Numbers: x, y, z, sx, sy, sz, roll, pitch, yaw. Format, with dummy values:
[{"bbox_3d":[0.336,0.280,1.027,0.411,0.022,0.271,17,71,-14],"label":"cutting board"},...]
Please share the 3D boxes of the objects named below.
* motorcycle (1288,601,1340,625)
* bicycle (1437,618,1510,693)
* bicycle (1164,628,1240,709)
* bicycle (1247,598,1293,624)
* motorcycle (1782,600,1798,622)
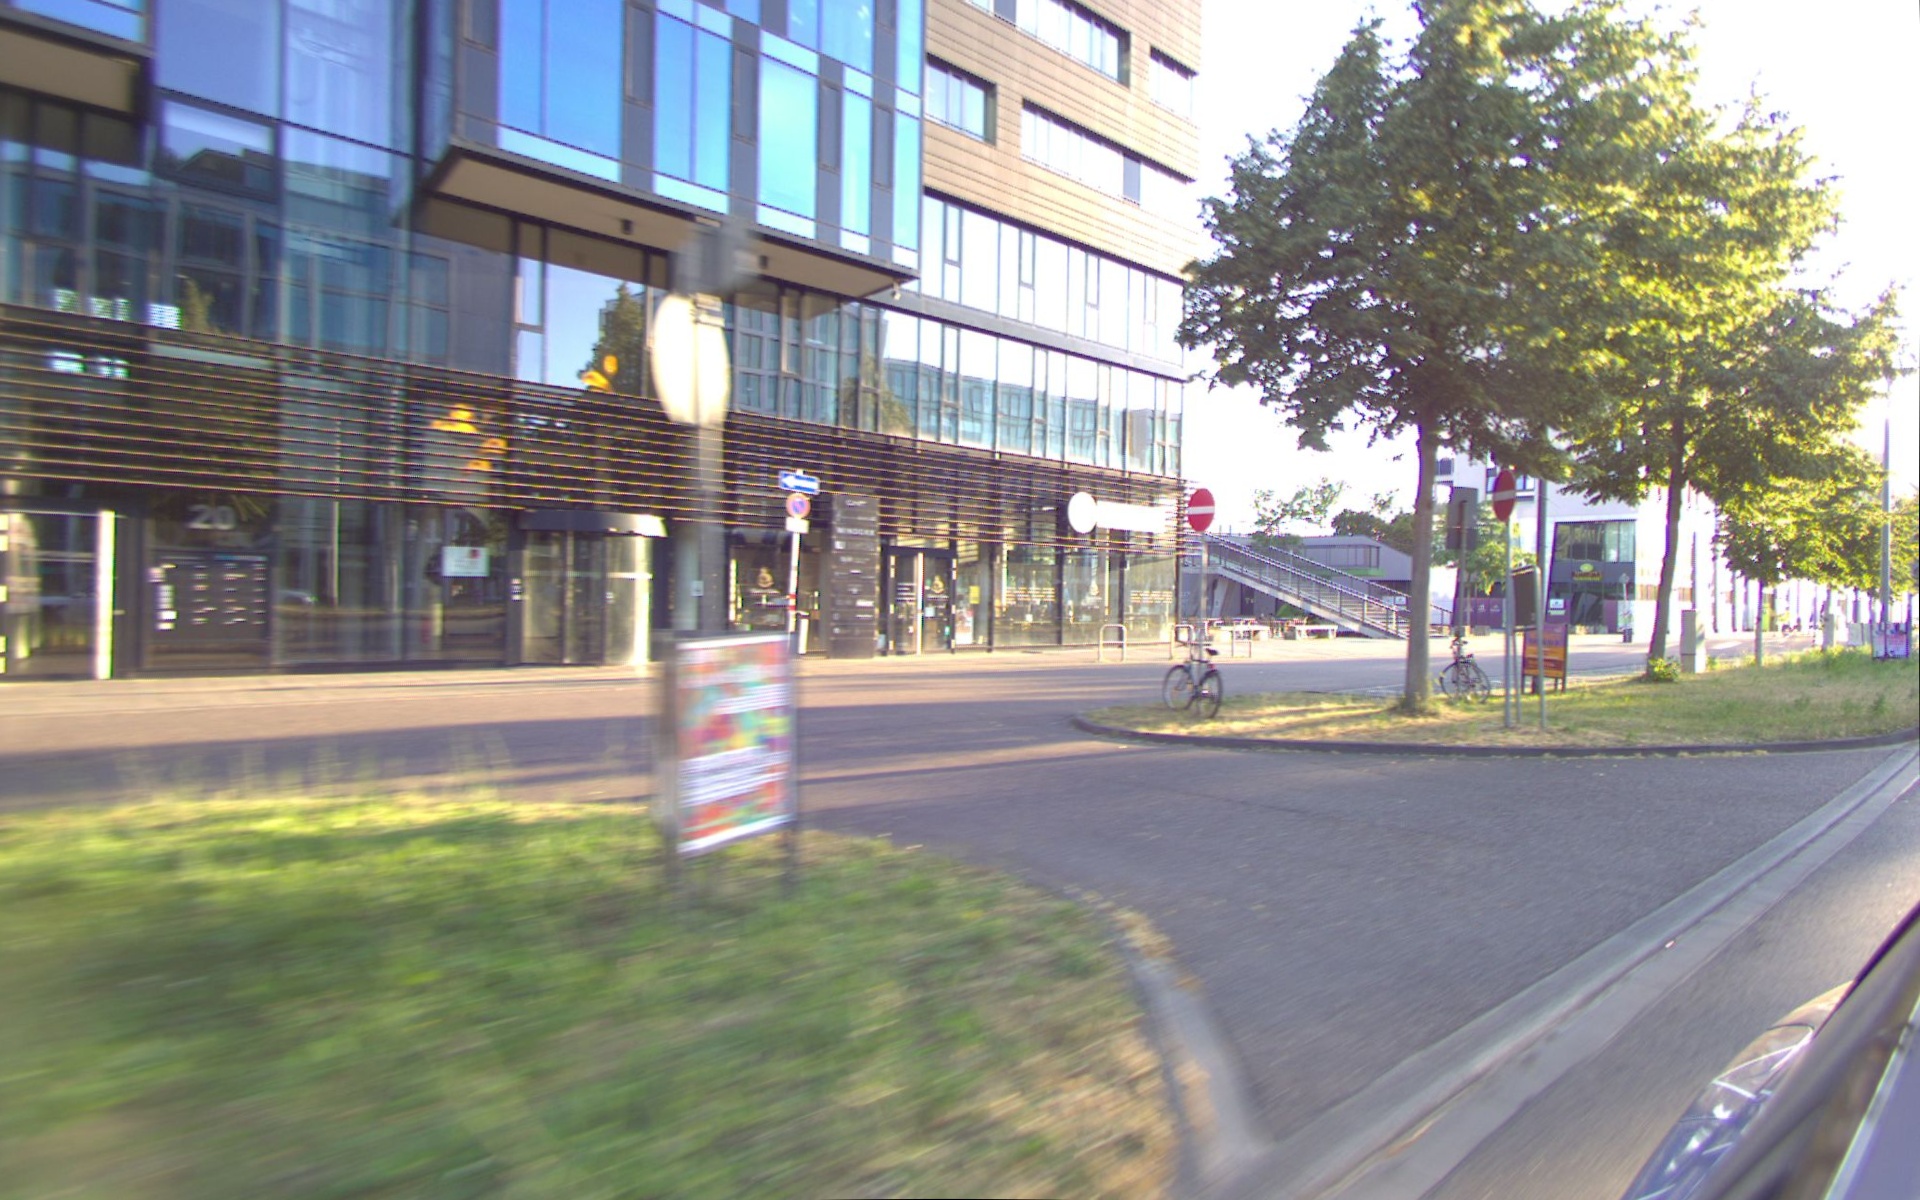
[{"bbox_3d":[16.515,0.611,47.184,2.637,1.056,0.734,1,0,-30],"label":"motorcycle"},{"bbox_3d":[7.669,0.792,15.081,0.578,1.007,1.662,1,1,41],"label":"bicycle"},{"bbox_3d":[3.139,0.866,13.247,0.355,0.922,1.726,1,0,-7],"label":"bicycle"},{"bbox_3d":[15.508,0.558,50.603,2.400,1.252,0.734,1,0,-30],"label":"bicycle"},{"bbox_3d":[67.787,0.899,82.620,2.086,1.720,0.689,1,0,-41],"label":"motorcycle"}]
